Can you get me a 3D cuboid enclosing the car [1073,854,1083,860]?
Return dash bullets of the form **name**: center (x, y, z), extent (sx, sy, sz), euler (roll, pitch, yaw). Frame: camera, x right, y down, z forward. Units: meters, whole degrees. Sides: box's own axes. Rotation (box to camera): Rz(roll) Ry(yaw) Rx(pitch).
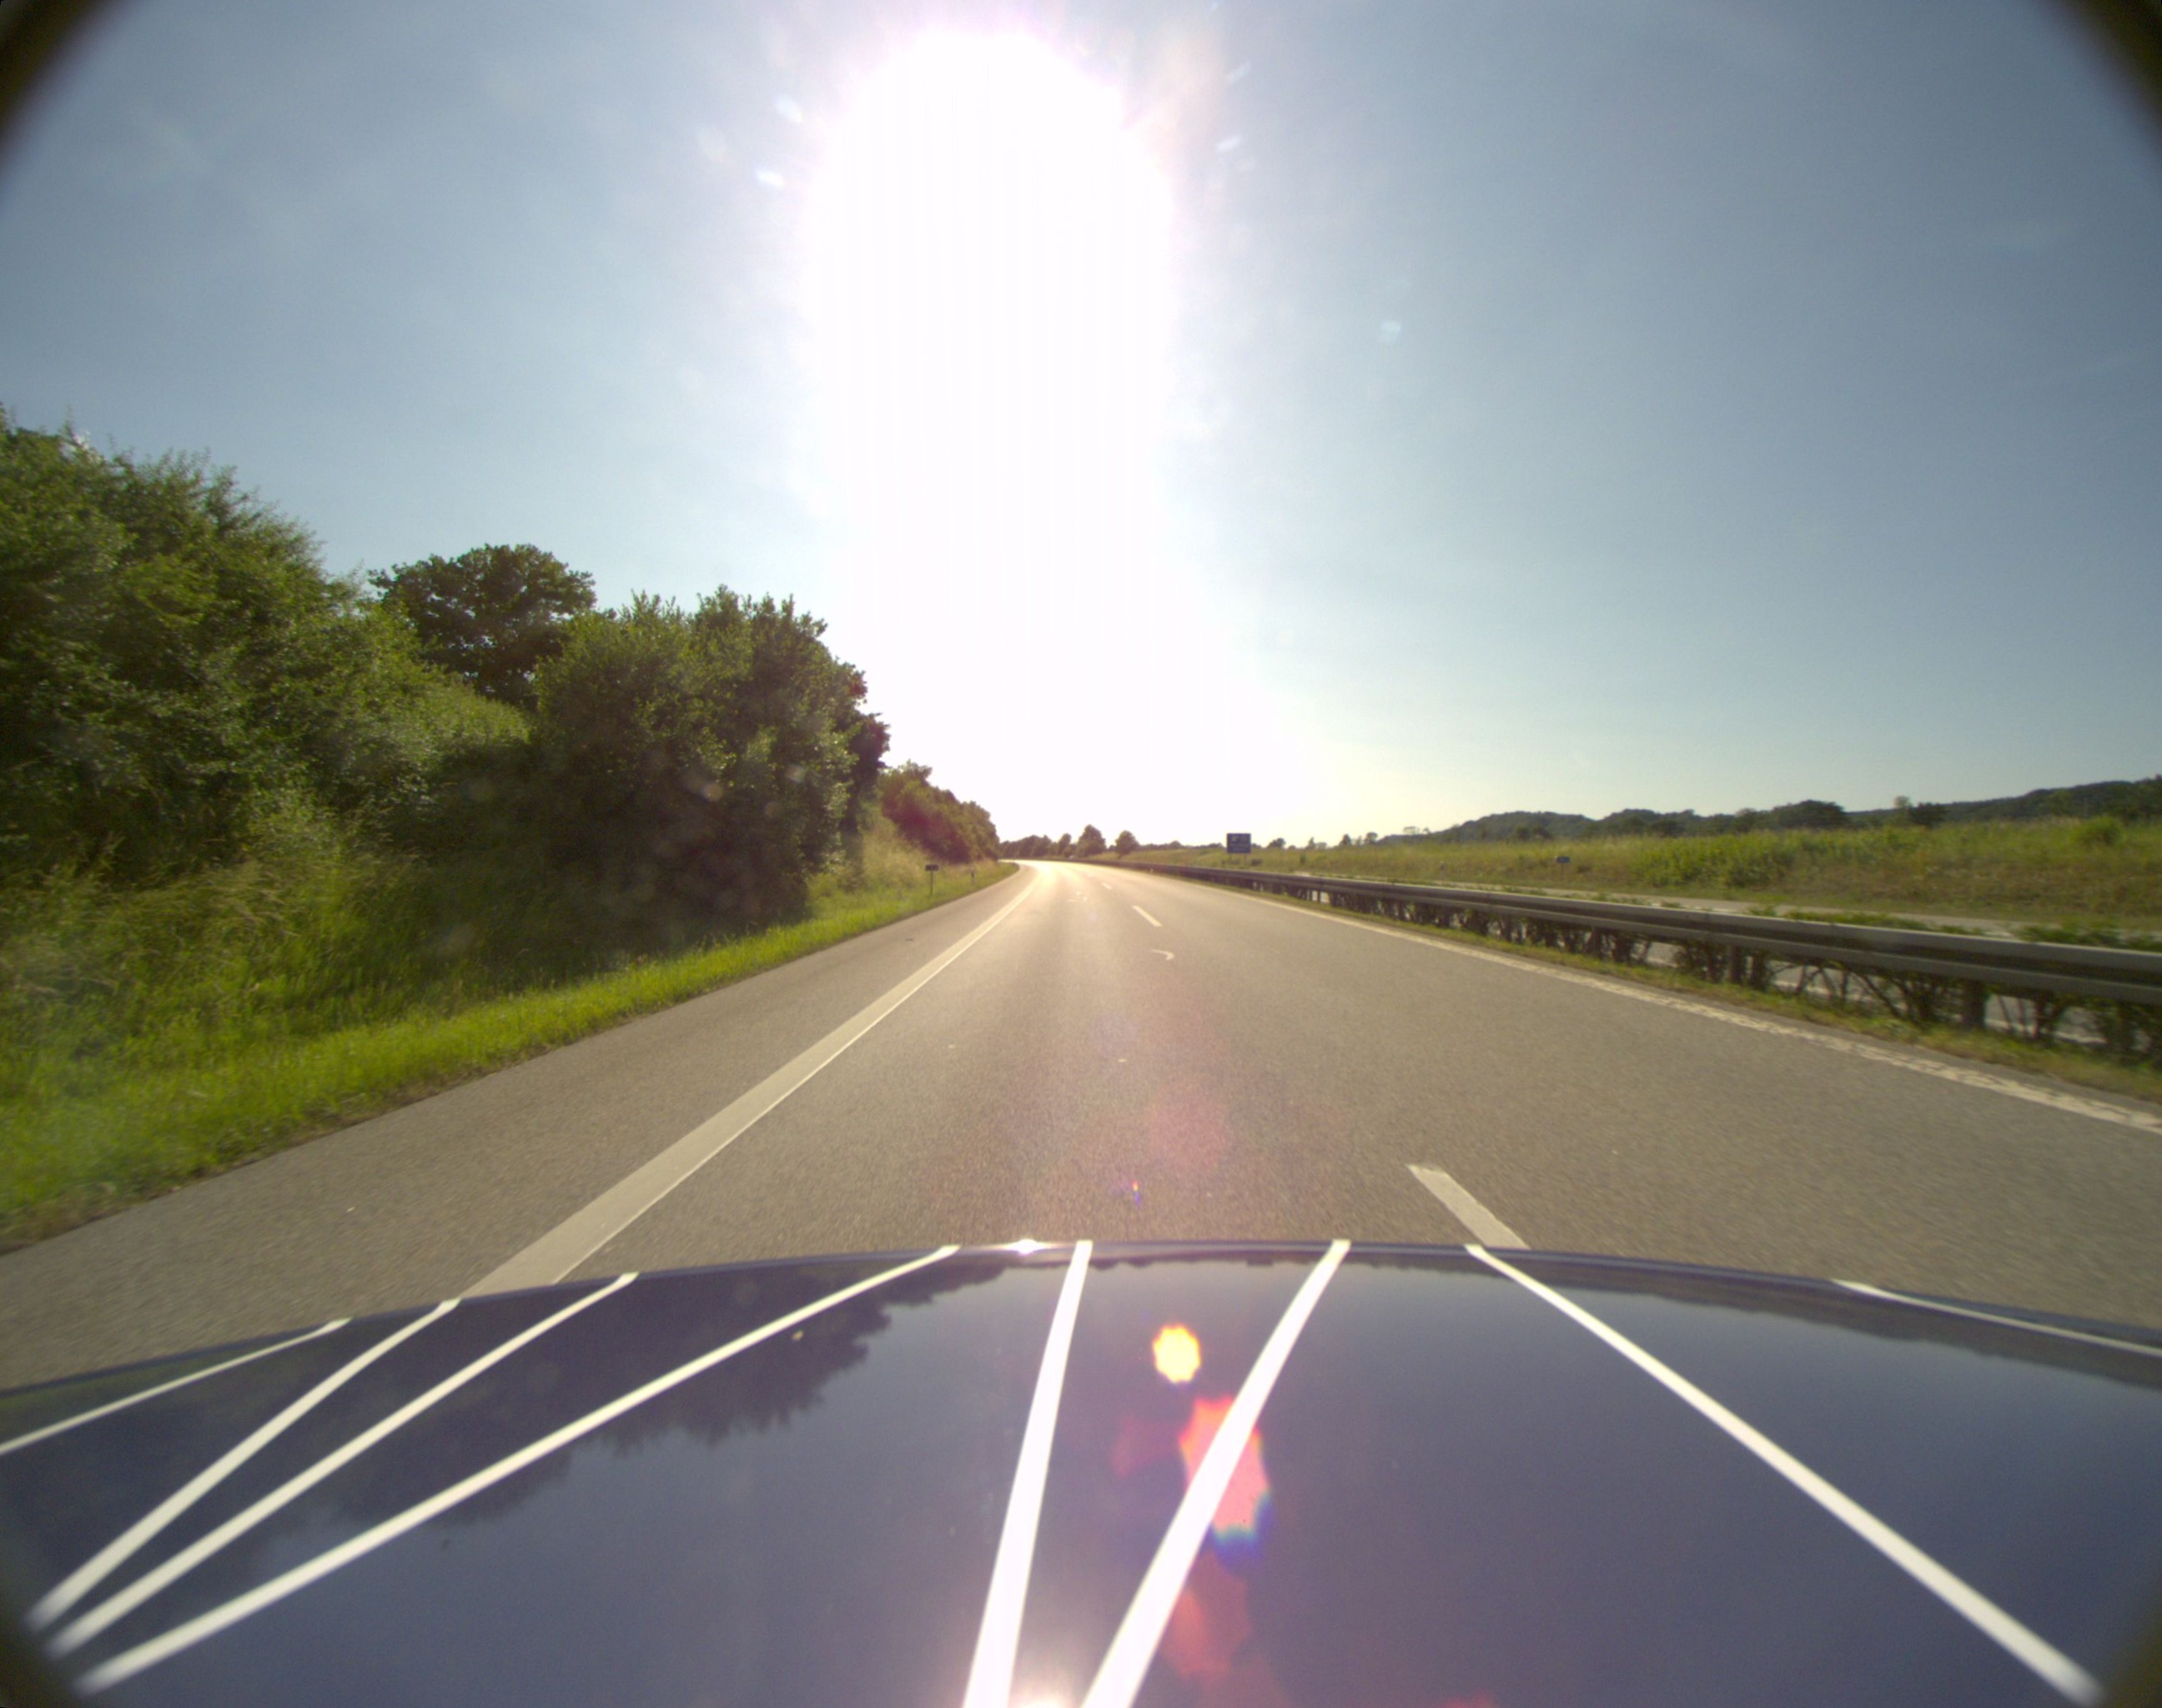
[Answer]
- **car**: center (-0.797, 0.806, 203.663), extent (1.771, 1.613, 5.004), euler (2, 0, -8)
